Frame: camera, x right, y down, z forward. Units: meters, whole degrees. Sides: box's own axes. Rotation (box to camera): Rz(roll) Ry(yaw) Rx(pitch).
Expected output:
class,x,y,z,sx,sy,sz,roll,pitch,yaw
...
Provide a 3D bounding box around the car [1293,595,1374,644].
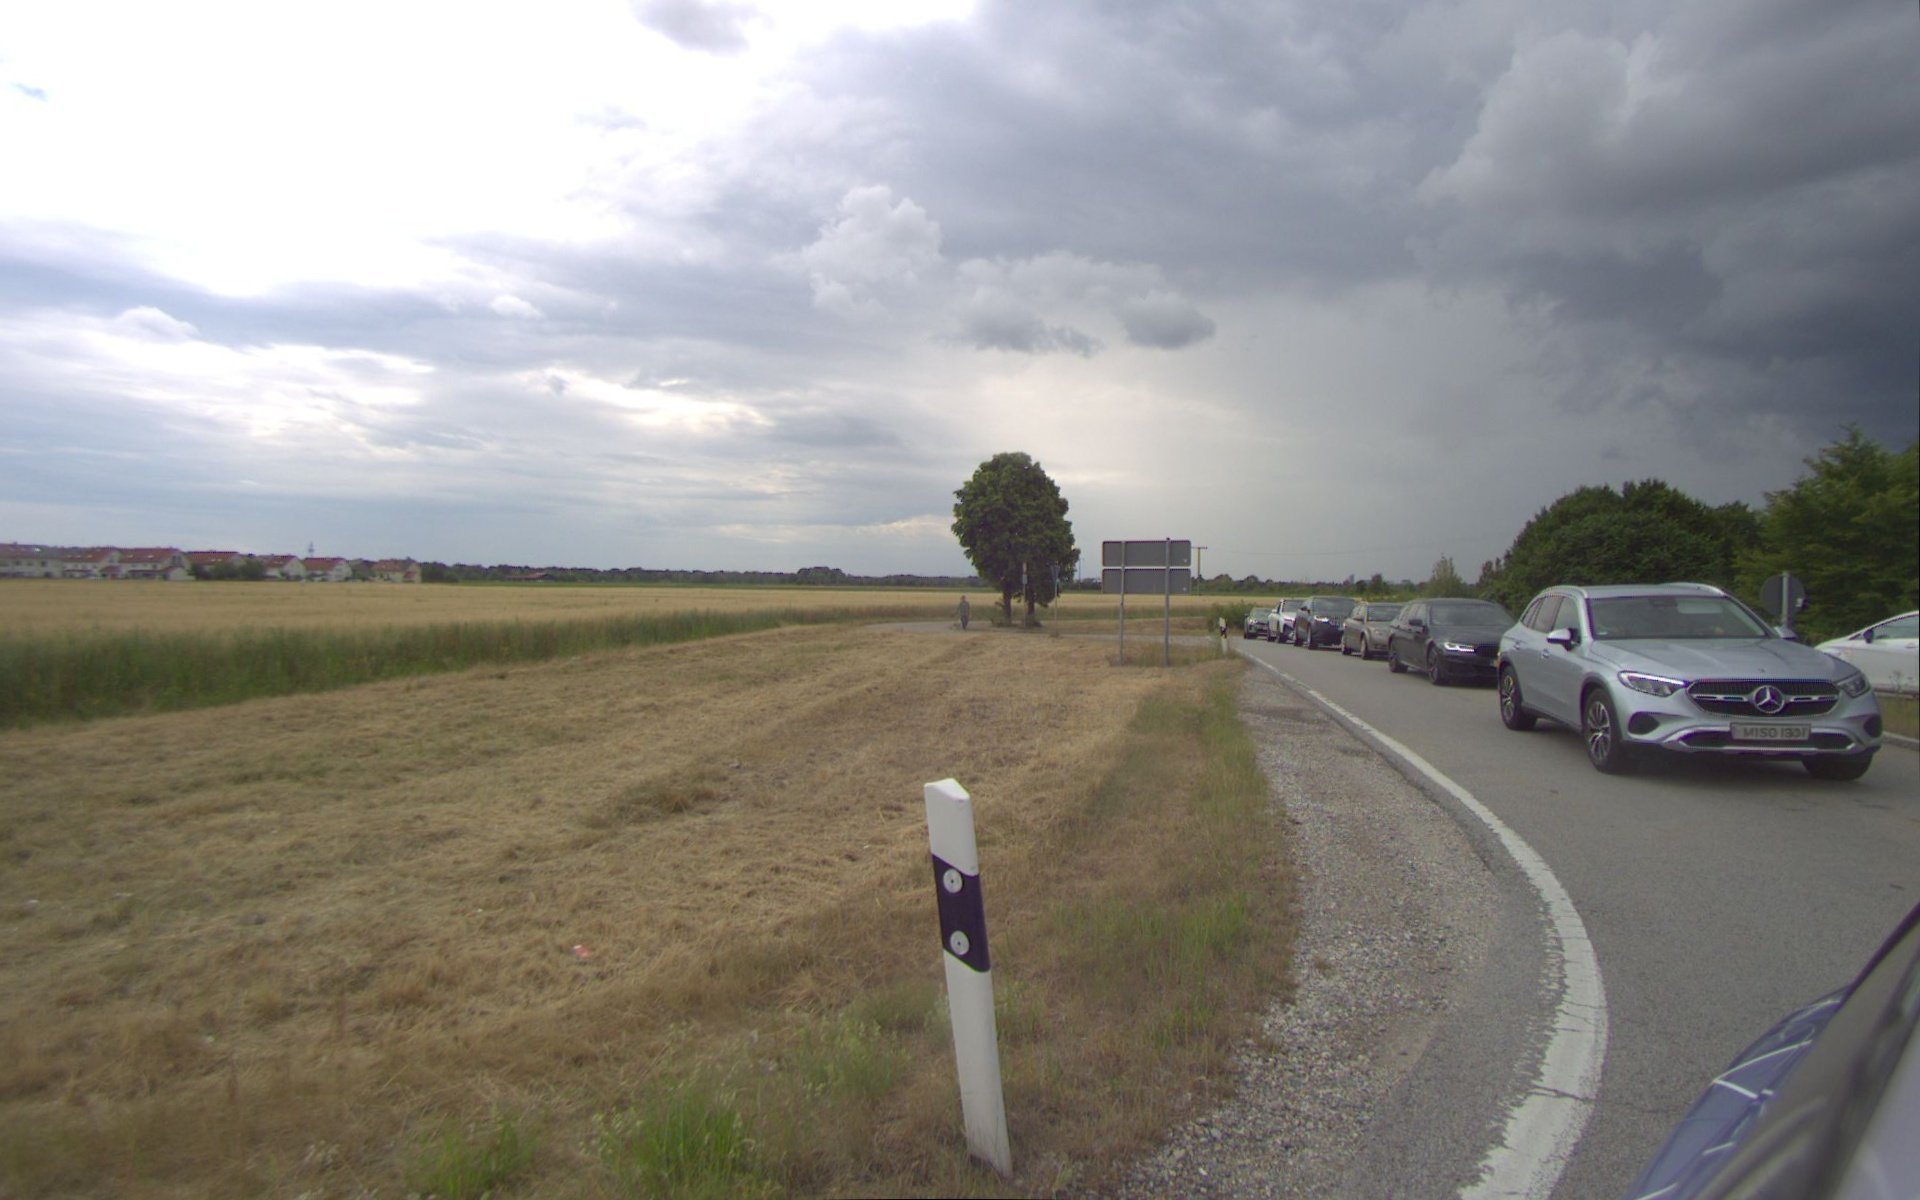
class,x,y,z,sx,sy,sz,roll,pitch,yaw
car,11.666,0.571,31.845,1.695,1.370,4.200,-2,0,11

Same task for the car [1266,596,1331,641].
class,x,y,z,sx,sy,sz,roll,pitch,yaw
car,12.708,0.654,38.234,1.695,1.513,4.624,-2,0,11

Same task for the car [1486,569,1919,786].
class,x,y,z,sx,sy,sz,roll,pitch,yaw
car,6.819,0.563,9.836,1.967,1.606,4.376,-2,0,14

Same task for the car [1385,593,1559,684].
class,x,y,z,sx,sy,sz,roll,pitch,yaw
car,9.060,0.604,18.340,1.696,1.370,4.677,-2,0,13

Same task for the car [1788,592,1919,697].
class,x,y,z,sx,sy,sz,roll,pitch,yaw
car,14.590,0.685,14.510,1.785,1.425,4.315,1,2,-1

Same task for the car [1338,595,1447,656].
class,x,y,z,sx,sy,sz,roll,pitch,yaw
car,10.910,0.580,25.815,1.695,1.370,4.200,1,1,11

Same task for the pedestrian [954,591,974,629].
class,x,y,z,sx,sy,sz,roll,pitch,yaw
pedestrian,0.174,0.429,44.655,0.758,1.631,0.946,1,0,-7

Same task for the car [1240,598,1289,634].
class,x,y,z,sx,sy,sz,roll,pitch,yaw
car,13.967,0.700,46.548,1.695,1.513,4.200,-2,0,11
